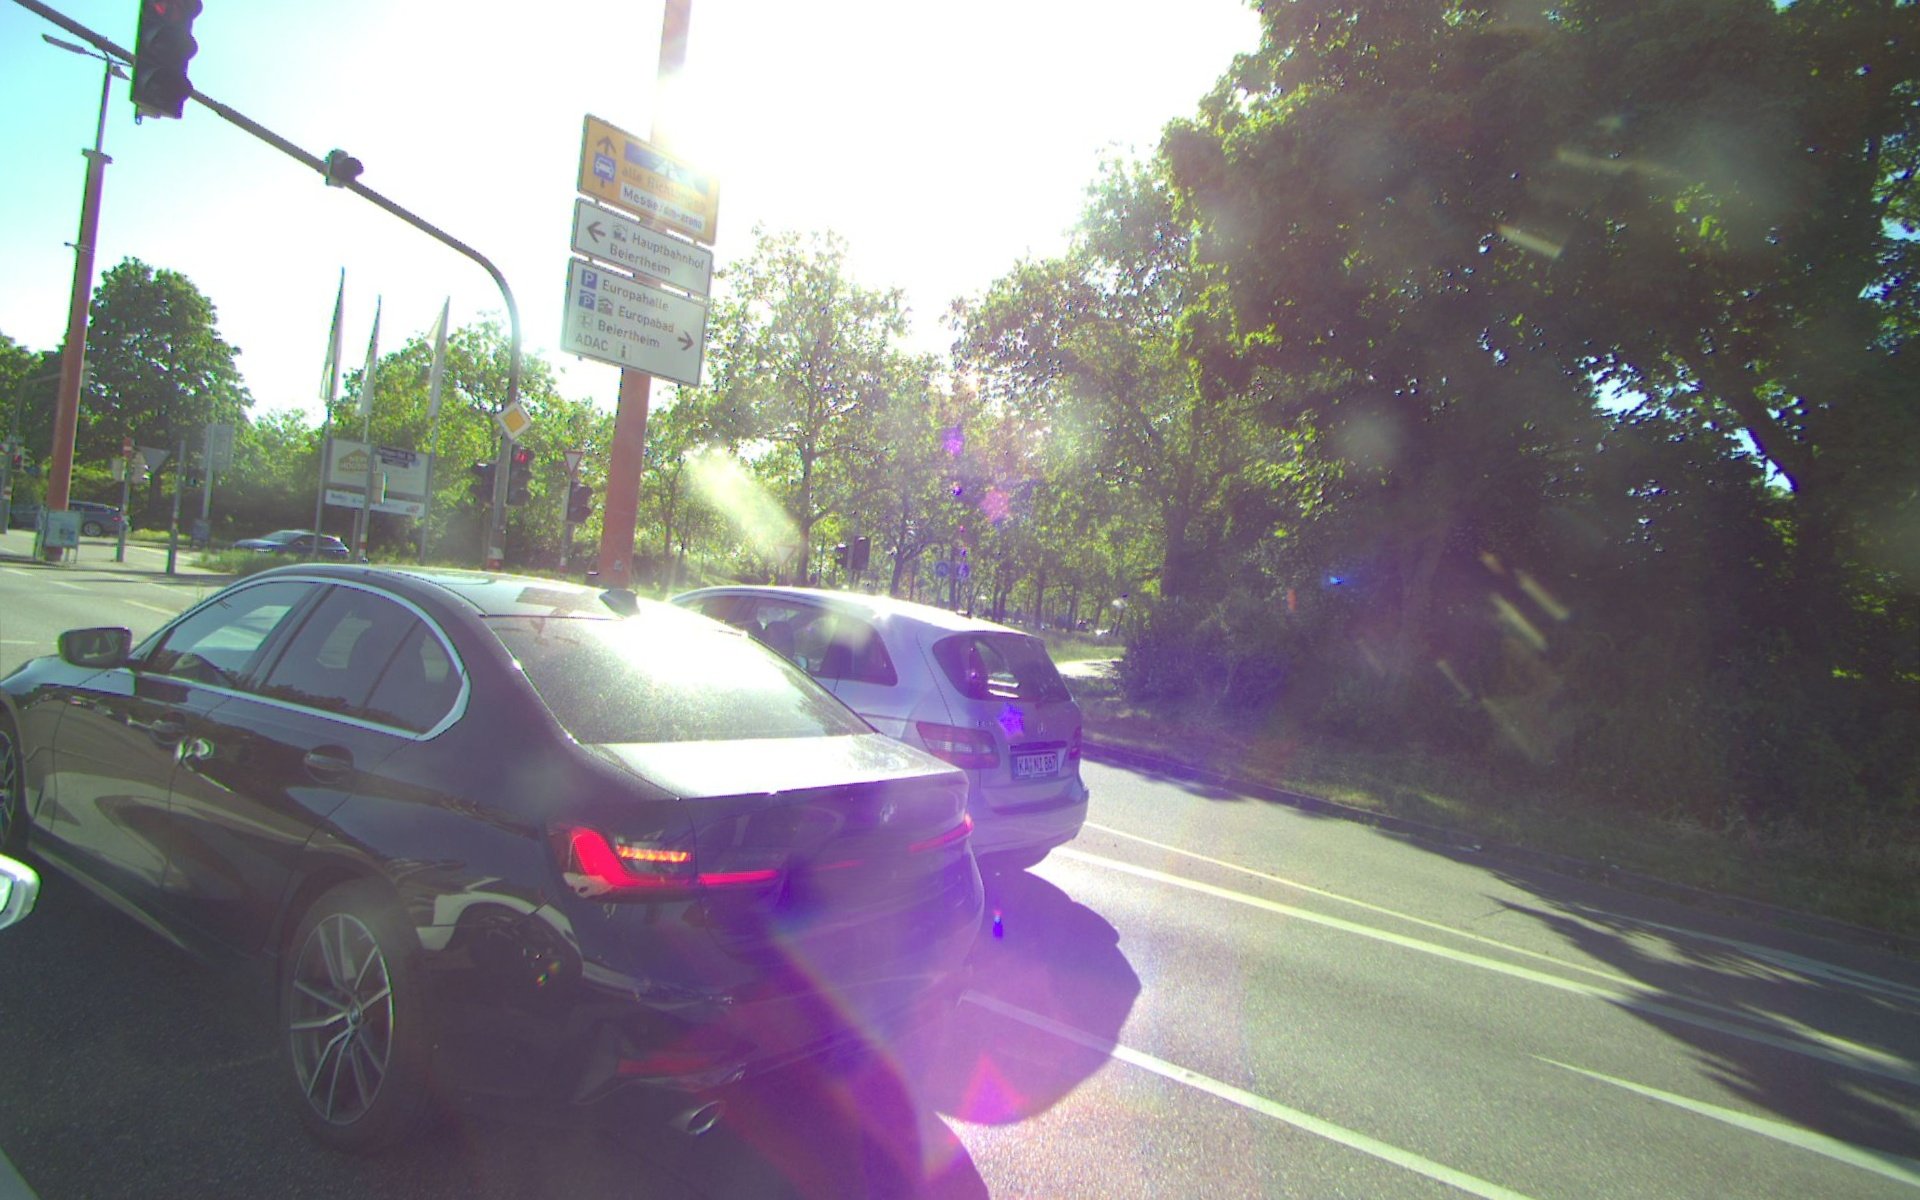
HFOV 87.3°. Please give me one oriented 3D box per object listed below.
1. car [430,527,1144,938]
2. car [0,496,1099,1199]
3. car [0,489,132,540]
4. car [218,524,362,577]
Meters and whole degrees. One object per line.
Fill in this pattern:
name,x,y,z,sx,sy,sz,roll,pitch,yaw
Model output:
car,-1.279,0.639,6.789,4.403,1.706,1.970,7,-1,32
car,-1.957,0.527,3.881,4.403,1.411,1.996,7,0,32
car,-40.187,-3.816,44.977,4.536,1.592,2.148,8,-1,-32
car,-25.109,-1.815,37.886,1.848,1.445,4.283,7,-1,14
